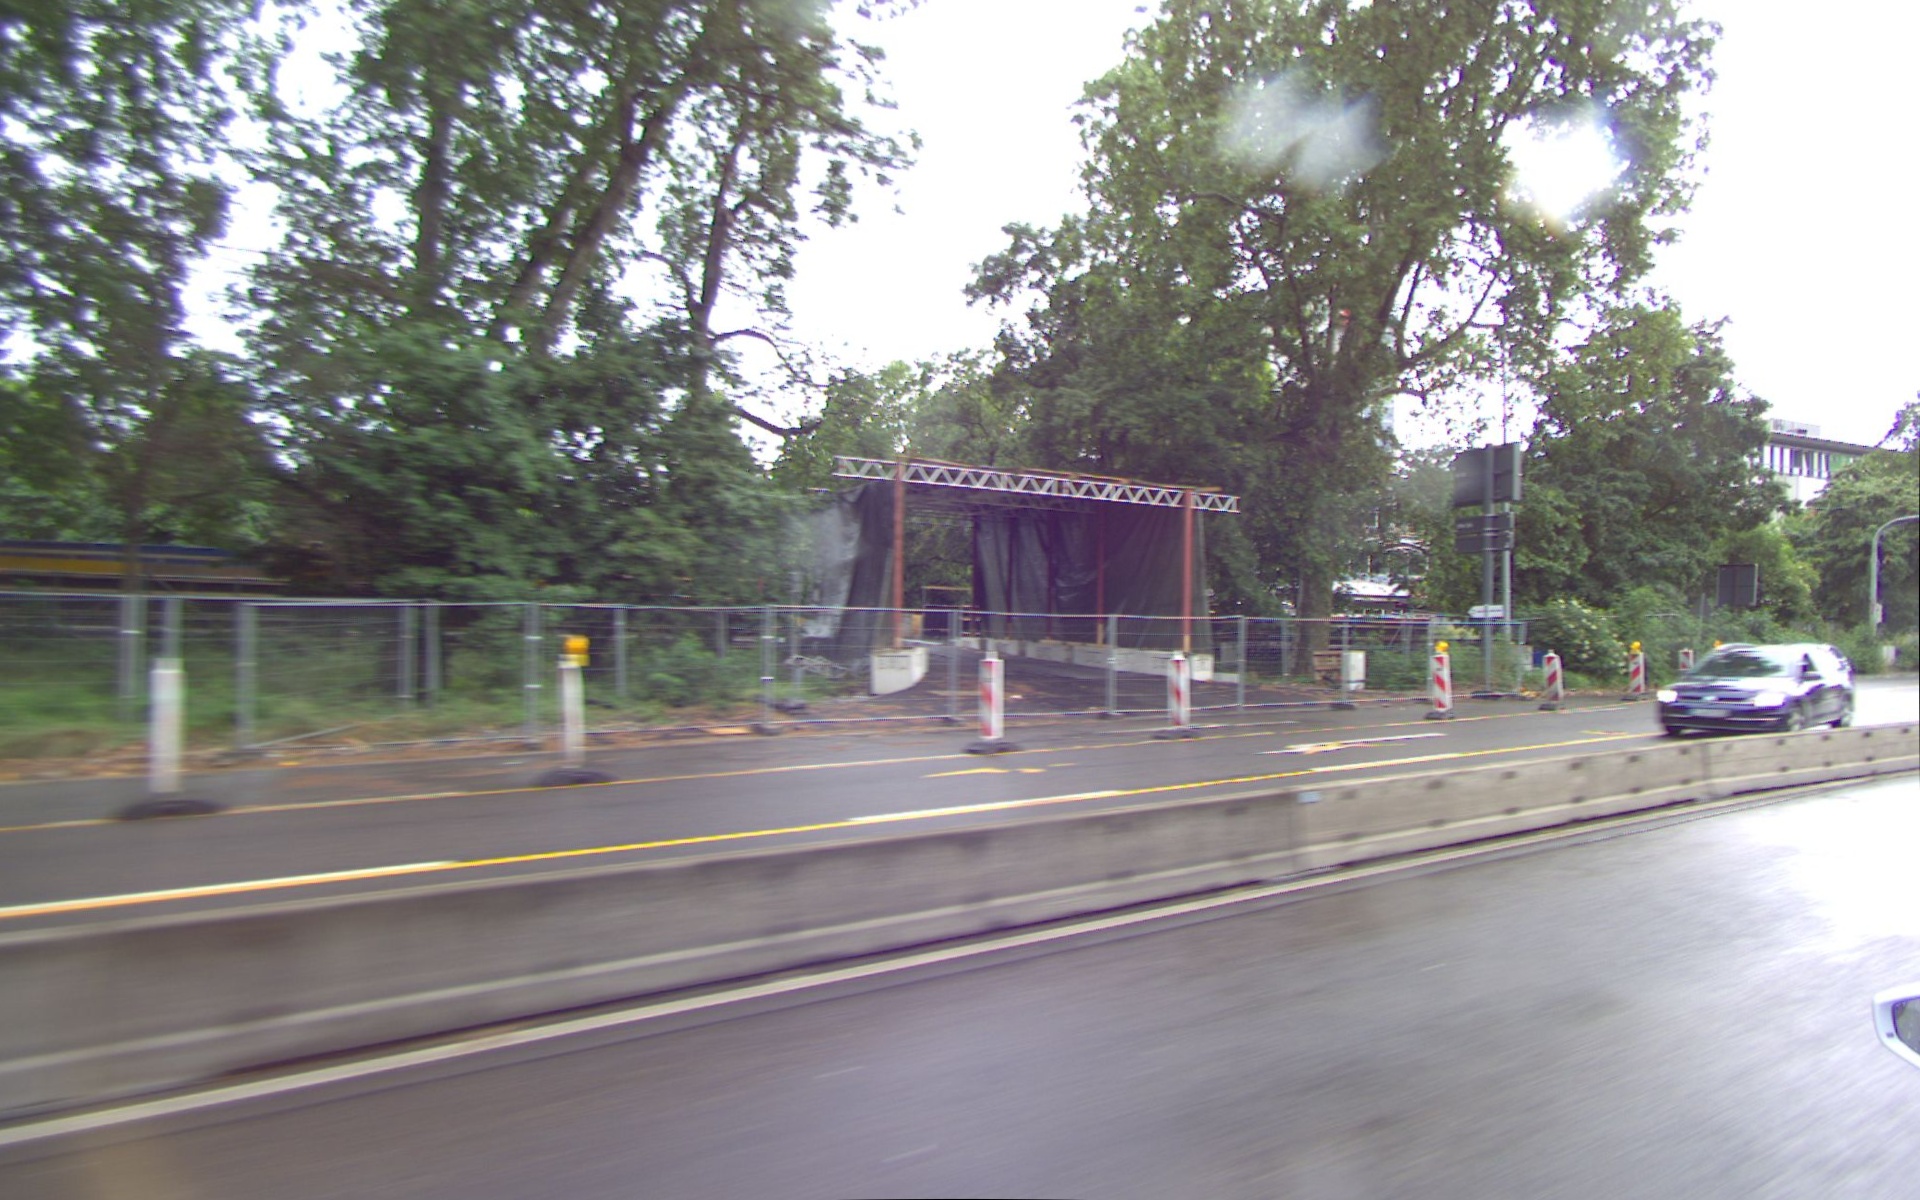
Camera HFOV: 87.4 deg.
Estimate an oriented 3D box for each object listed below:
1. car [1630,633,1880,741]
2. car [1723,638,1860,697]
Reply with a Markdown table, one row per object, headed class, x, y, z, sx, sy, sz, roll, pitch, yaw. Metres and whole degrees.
| class | x | y | z | sx | sy | sz | roll | pitch | yaw |
| --- | --- | --- | --- | --- | --- | --- | --- | --- | --- |
| car | 13.238 | 1.450 | 16.656 | 4.534 | 1.561 | 1.982 | 5 | -5 | -34 |
| car | 24.687 | 2.027 | 29.799 | 4.400 | 1.561 | 1.982 | 5 | -5 | -34 |
